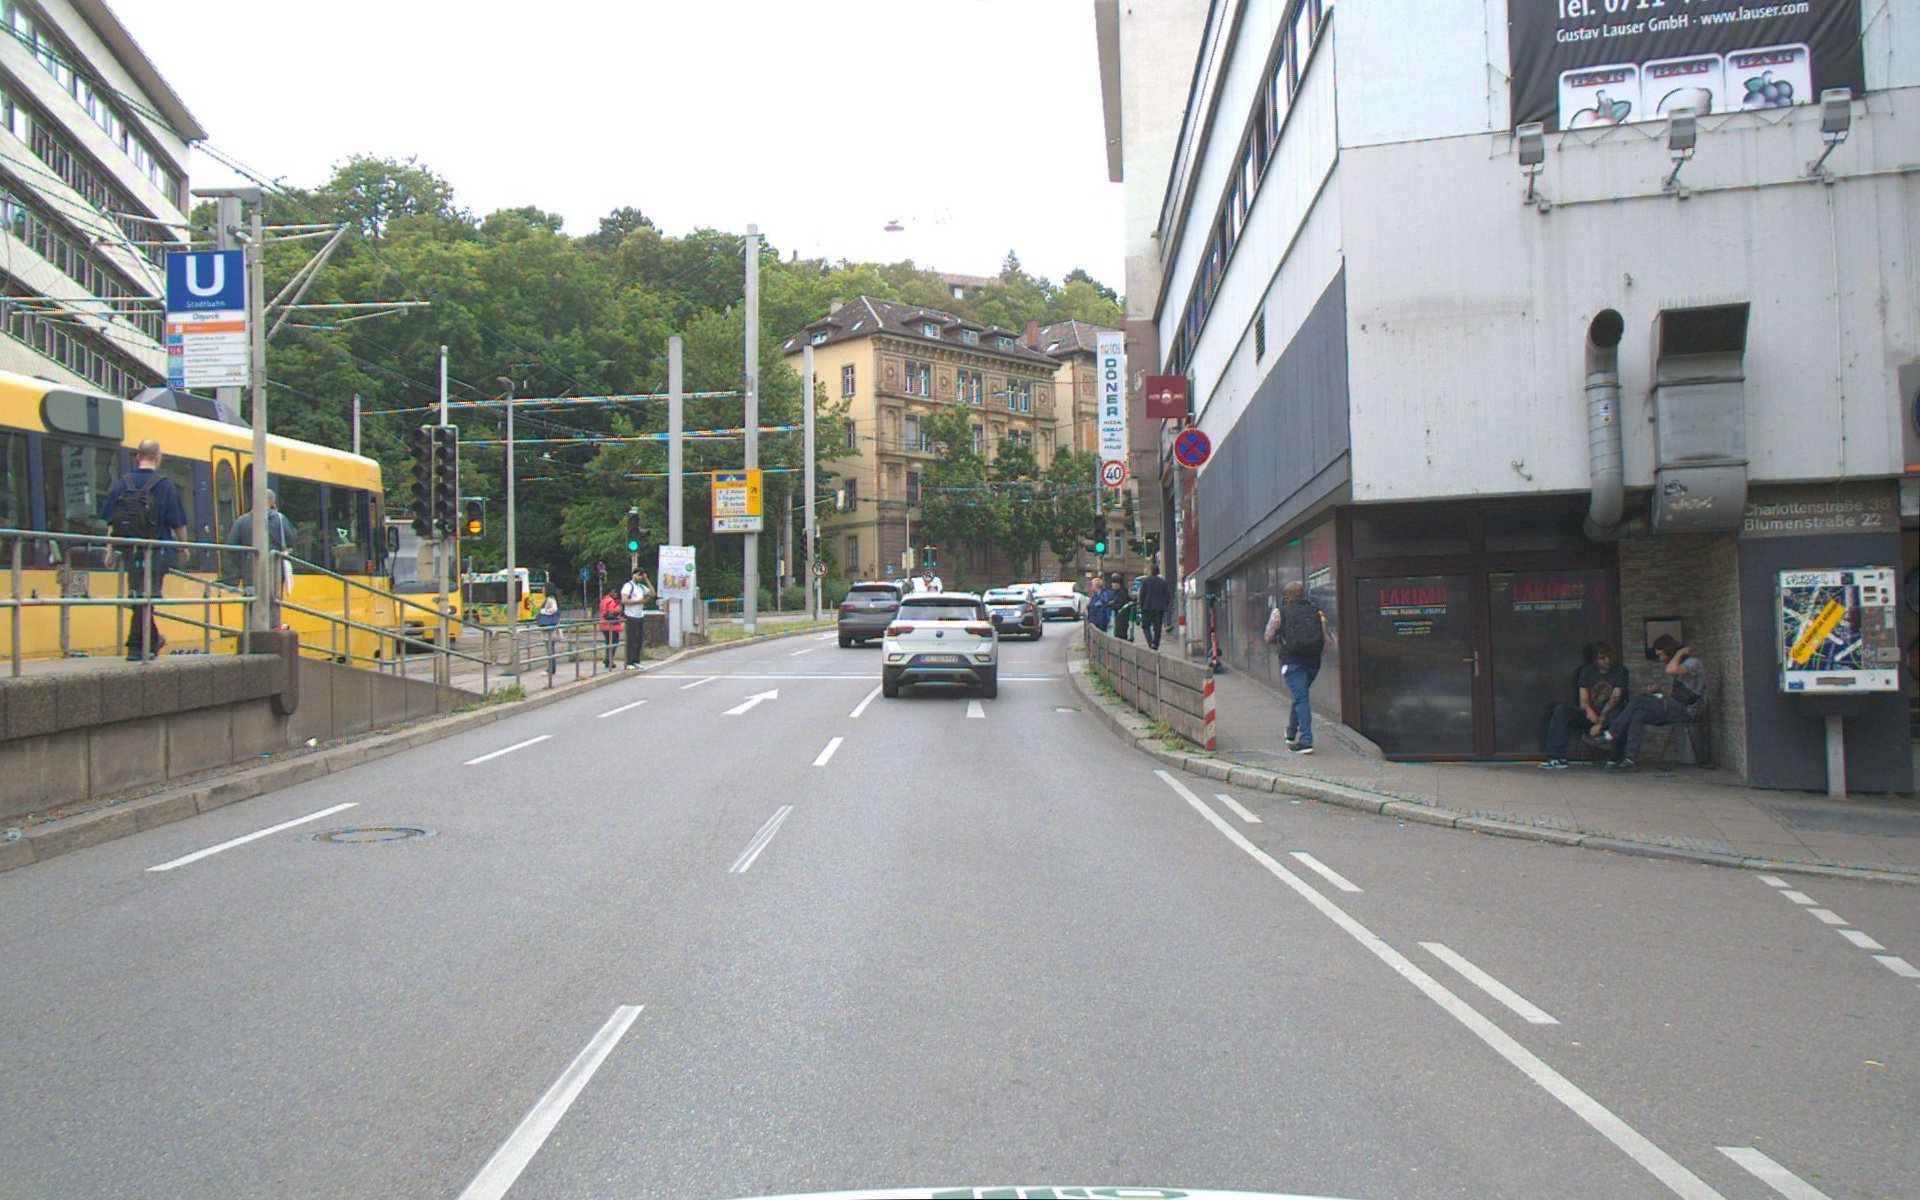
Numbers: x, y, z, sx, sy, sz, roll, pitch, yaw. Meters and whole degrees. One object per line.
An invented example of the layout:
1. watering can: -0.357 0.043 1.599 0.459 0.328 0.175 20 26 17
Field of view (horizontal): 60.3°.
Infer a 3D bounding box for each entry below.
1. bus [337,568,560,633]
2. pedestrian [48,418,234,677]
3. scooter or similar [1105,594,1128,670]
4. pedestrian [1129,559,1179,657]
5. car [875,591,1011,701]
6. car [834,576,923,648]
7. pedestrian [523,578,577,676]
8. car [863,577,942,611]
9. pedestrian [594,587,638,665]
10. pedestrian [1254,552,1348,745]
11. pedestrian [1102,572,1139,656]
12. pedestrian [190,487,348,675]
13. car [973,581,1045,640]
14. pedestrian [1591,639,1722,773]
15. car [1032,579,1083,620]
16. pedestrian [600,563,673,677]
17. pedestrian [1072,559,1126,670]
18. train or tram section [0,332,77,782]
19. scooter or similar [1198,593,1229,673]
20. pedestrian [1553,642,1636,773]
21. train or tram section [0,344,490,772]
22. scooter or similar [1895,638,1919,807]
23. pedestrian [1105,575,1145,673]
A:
1. bus: -27.579 0.003 89.304 11.265 3.082 3.393 -2 1 13
2. pedestrian: -6.674 -0.384 13.545 0.910 2.004 1.233 -2 -3 -1
3. scooter or similar: 2.692 0.541 28.478 0.346 1.298 0.814 0 0 2
4. pedestrian: 3.825 0.150 32.612 0.712 1.838 0.654 -7 0 3
5. car: -0.190 0.659 26.145 1.897 1.594 4.048 0 0 3
6. car: -2.085 0.286 43.165 1.800 1.770 4.003 0 0 5
7. pedestrian: -7.117 0.465 28.749 0.662 1.653 1.001 -2 0 -1
8. car: -3.421 -0.342 99.625 1.963 1.882 4.966 -1 -3 40
9. pedestrian: -6.764 0.511 32.543 0.564 1.490 0.676 -3 -4 19
10. pedestrian: 3.304 0.459 16.081 0.706 1.817 0.883 0 0 -2
11. pedestrian: 3.363 0.292 34.730 0.550 1.679 0.591 -7 0 3
12. pedestrian: -6.691 -0.156 16.084 1.094 1.710 1.041 -2 -5 -1
13. car: 1.417 0.273 46.621 1.863 1.601 3.836 0 0 4
14. pedestrian: 6.668 0.998 15.878 1.082 1.209 0.743 0 0 17
15. car: 3.793 -0.021 64.921 1.898 1.532 3.807 -1 0 2
16. pedestrian: -6.194 0.396 31.696 0.945 2.103 1.032 -3 -4 19
17. pedestrian: 2.709 0.272 32.294 0.927 2.098 0.779 3 0 3
18. train or tram section: -9.162 -0.110 7.472 2.824 3.726 14.228 -4 2 -2
19. scooter or similar: 4.265 0.545 27.786 0.418 1.298 0.981 -1 1 13
20. pedestrian: 6.374 1.064 16.639 0.719 1.257 0.718 0 0 16
21. train or tram section: -9.570 -0.487 21.697 2.824 3.726 14.473 -4 2 -2
22. scooter or similar: 8.542 1.040 13.656 1.363 1.373 0.595 3 -1 -14
23. pedestrian: 3.072 0.439 30.889 0.722 1.825 0.655 0 0 3
